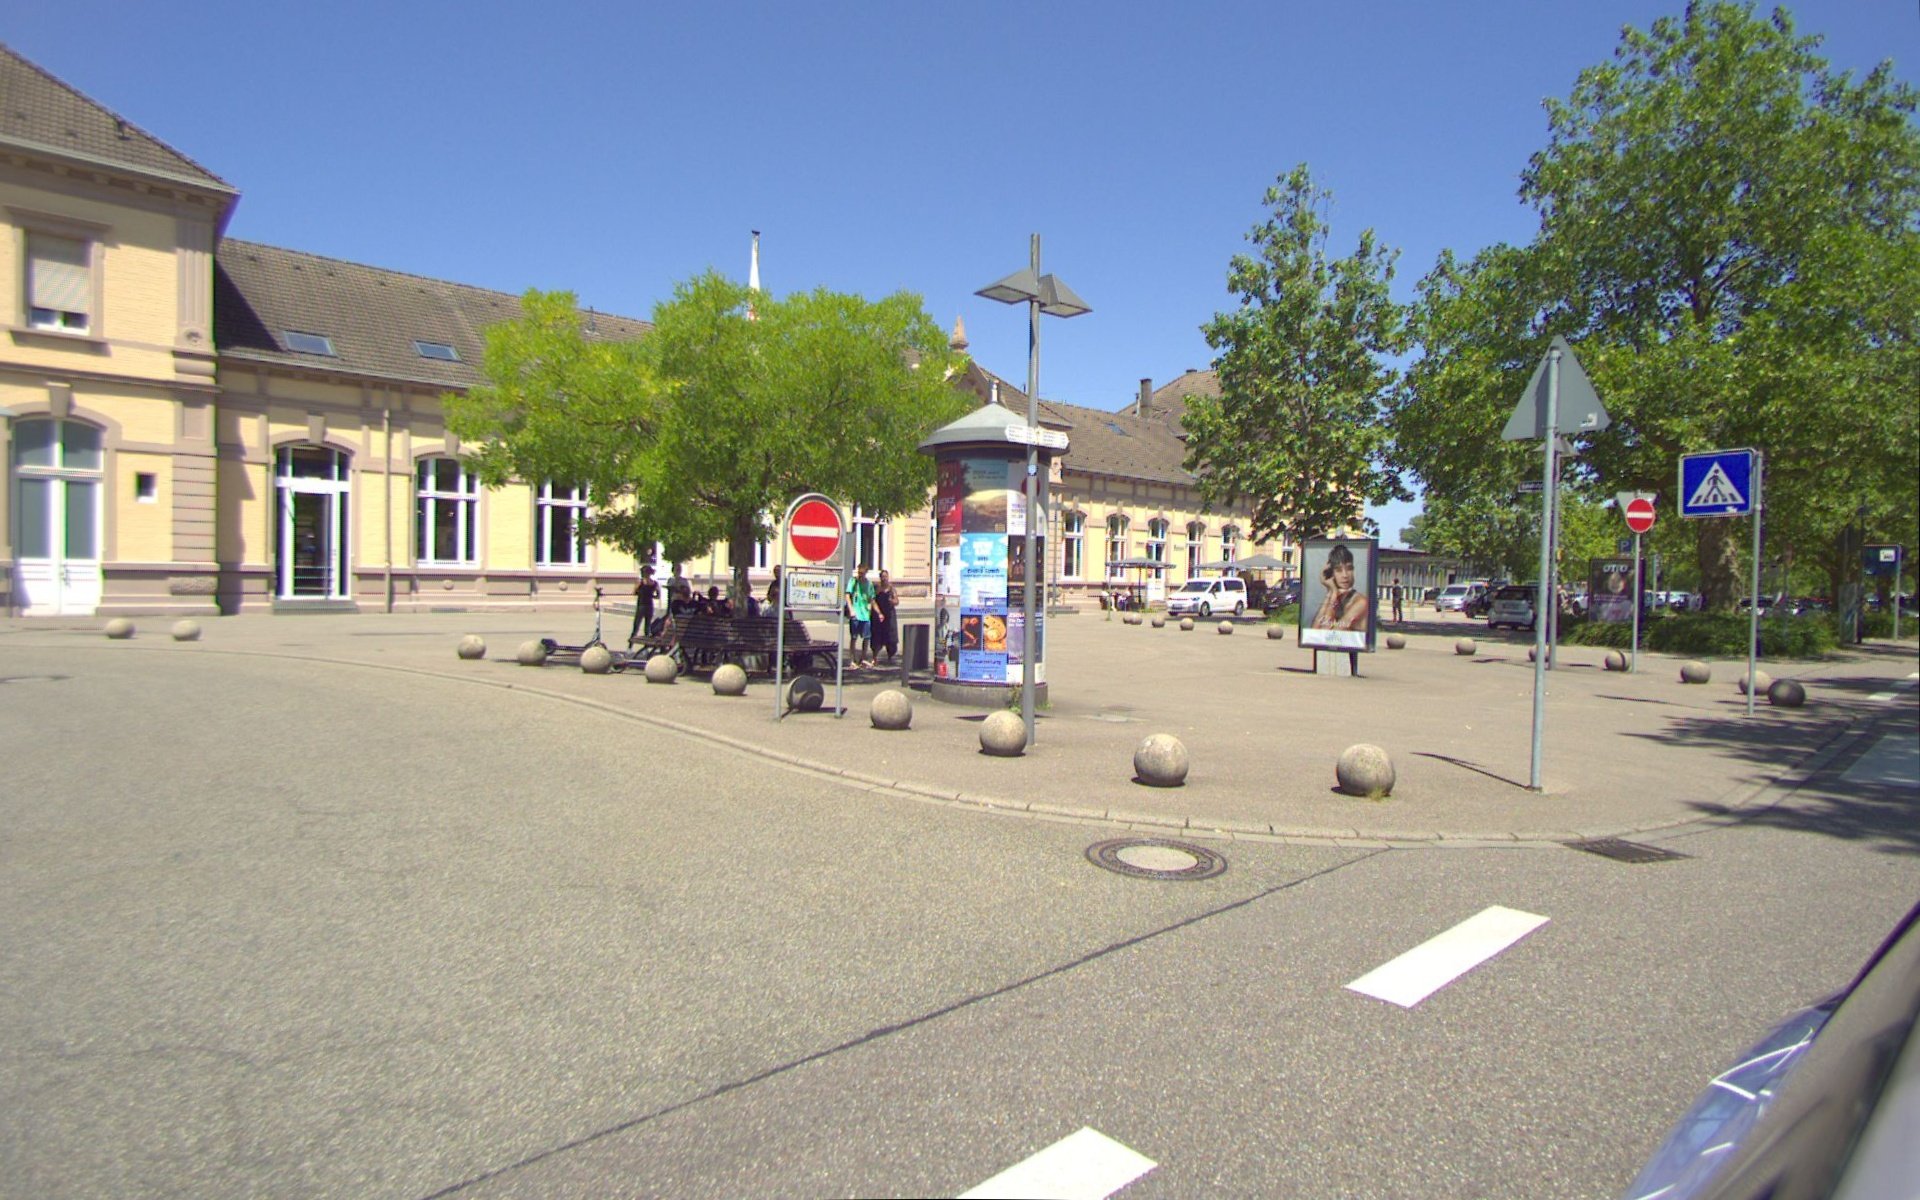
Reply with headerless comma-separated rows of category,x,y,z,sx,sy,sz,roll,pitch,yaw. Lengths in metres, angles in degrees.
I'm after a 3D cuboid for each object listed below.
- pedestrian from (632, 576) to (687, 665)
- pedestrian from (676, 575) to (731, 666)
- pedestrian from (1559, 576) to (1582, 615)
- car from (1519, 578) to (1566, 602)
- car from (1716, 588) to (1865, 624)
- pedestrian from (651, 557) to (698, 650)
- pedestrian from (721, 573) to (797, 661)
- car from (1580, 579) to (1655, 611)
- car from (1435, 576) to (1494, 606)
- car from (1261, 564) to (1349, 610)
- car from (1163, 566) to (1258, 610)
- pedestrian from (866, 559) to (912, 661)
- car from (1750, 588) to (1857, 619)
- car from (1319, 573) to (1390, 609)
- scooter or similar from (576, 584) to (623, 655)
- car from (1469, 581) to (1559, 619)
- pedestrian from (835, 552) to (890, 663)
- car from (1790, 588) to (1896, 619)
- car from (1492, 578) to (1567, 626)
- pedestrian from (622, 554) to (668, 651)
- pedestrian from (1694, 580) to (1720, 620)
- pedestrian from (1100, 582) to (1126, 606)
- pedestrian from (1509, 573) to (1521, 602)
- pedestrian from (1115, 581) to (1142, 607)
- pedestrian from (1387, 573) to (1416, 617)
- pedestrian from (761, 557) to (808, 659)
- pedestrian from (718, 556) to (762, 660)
pedestrian,-4.829,0.318,16.256,0.592,1.381,0.596,1,1,20
pedestrian,-4.017,0.301,15.868,0.592,1.381,0.596,1,1,20
pedestrian,25.136,-0.181,41.675,0.580,1.567,0.609,2,1,11
car,46.276,-0.818,80.393,4.174,1.812,1.997,-1,0,-41
car,36.203,0.235,44.279,4.737,1.434,1.768,2,1,30
pedestrian,-5.353,0.053,18.973,0.615,1.706,0.583,1,1,36
pedestrian,-3.340,0.267,16.871,0.901,1.403,0.938,1,1,19
car,37.413,-0.307,57.691,1.768,1.624,4.062,0,2,3
car,32.458,-0.576,65.044,1.997,1.863,5.236,-1,0,43
car,17.433,-0.605,50.942,2.086,2.151,5.735,1,0,43
car,11.483,-0.495,46.133,5.054,1.889,1.810,1,0,-44
pedestrian,-1.249,0.163,17.867,0.620,1.761,0.544,1,1,23
car,43.148,0.147,51.872,3.829,1.478,1.626,1,1,21
car,21.711,-0.458,55.589,2.073,1.863,4.765,1,0,43
scooter or similar,-6.110,0.318,17.143,1.024,1.153,0.290,2,1,42
car,25.470,-0.032,46.745,1.767,1.562,4.530,0,2,2
pedestrian,-1.618,0.113,16.793,0.686,1.786,0.580,1,1,25
car,46.620,0.167,53.531,3.829,1.478,1.626,1,1,21
car,20.451,0.042,36.308,1.597,1.613,3.056,2,2,44
pedestrian,-5.682,0.037,18.249,0.552,1.706,0.580,1,1,36
pedestrian,33.794,-0.022,45.790,0.831,1.792,0.843,1,1,29
pedestrian,7.387,-0.284,48.980,0.879,1.093,0.838,4,3,44
pedestrian,39.135,-0.853,71.349,0.626,2.015,0.607,-1,-1,43
pedestrian,8.045,-0.281,48.309,0.879,1.176,0.838,4,3,44
pedestrian,17.484,-0.208,40.067,0.759,1.738,0.815,1,1,2
pedestrian,-3.099,0.133,17.865,0.578,1.761,0.595,1,1,23
pedestrian,-3.816,0.127,17.578,0.505,1.761,0.567,1,1,19
